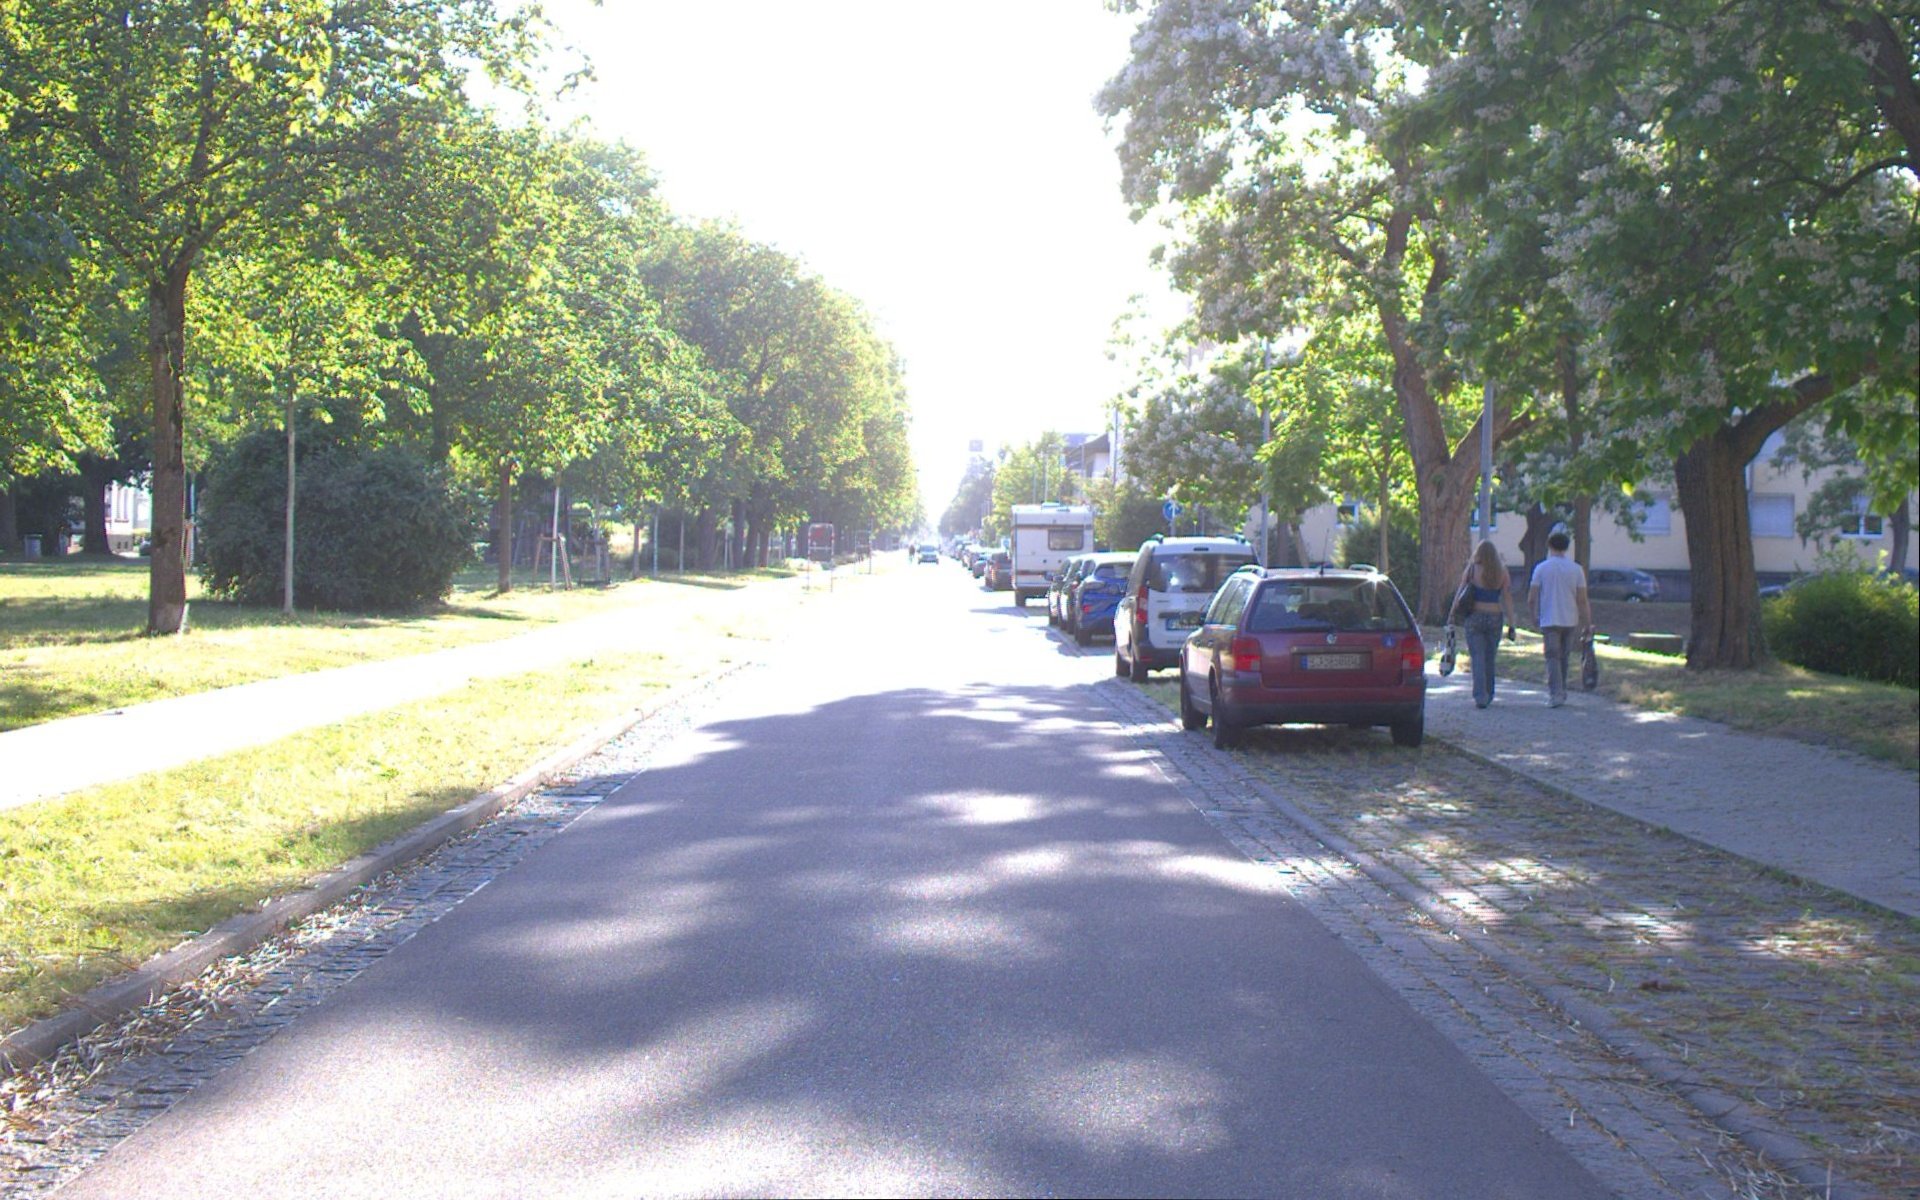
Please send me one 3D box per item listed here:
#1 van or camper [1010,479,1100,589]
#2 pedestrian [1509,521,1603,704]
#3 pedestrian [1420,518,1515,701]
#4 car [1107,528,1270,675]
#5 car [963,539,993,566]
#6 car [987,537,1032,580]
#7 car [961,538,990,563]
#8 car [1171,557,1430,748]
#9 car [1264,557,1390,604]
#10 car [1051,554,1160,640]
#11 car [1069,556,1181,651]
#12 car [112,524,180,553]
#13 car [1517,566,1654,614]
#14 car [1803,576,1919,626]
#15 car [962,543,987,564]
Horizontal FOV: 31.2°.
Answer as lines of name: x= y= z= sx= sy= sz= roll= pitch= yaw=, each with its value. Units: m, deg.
van or camper: x=2.615 y=-1.799 z=96.276 sx=2.234 sy=2.894 sz=5.673 roll=1 pitch=-1 yaw=-1
pedestrian: x=5.775 y=0.111 z=33.345 sx=0.725 sy=1.730 sz=0.732 roll=2 pitch=1 yaw=0
pedestrian: x=4.911 y=0.086 z=33.312 sx=0.753 sy=1.730 sz=0.732 roll=2 pitch=1 yaw=0
car: x=2.832 y=0.005 z=43.475 sx=1.678 sy=1.734 sz=4.514 roll=1 pitch=0 yaw=-1
car: x=0.993 y=-2.637 z=191.579 sx=1.626 sy=1.405 sz=4.249 roll=1 pitch=0 yaw=-1
car: x=1.966 y=-1.640 z=137.741 sx=1.626 sy=1.663 sz=4.249 roll=1 pitch=0 yaw=-1
car: x=0.910 y=-2.921 z=202.569 sx=1.626 sy=1.405 sz=4.249 roll=1 pitch=0 yaw=-1
car: x=2.845 y=0.402 z=29.654 sx=1.678 sy=1.481 sz=4.810 roll=1 pitch=0 yaw=-1
car: x=12.607 y=-0.682 z=118.296 sx=4.195 sy=1.525 sz=2.000 roll=1 pitch=0 yaw=4
car: x=2.715 y=-0.065 z=65.149 sx=1.731 sy=1.545 sz=4.423 roll=1 pitch=0 yaw=-2
car: x=2.790 y=0.041 z=58.896 sx=1.732 sy=1.545 sz=4.275 roll=1 pitch=0 yaw=1
car: x=-44.629 y=-3.359 z=188.549 sx=2.507 sy=1.503 sz=4.912 roll=1 pitch=0 yaw=0
car: x=20.160 y=-0.319 z=110.824 sx=4.198 sy=1.458 sz=1.692 roll=1 pitch=0 yaw=15
car: x=30.400 y=0.040 z=114.150 sx=4.515 sy=1.564 sz=1.879 roll=1 pitch=0 yaw=19
car: x=0.980 y=-3.199 z=238.780 sx=1.626 sy=1.405 sz=4.249 roll=1 pitch=0 yaw=-1
